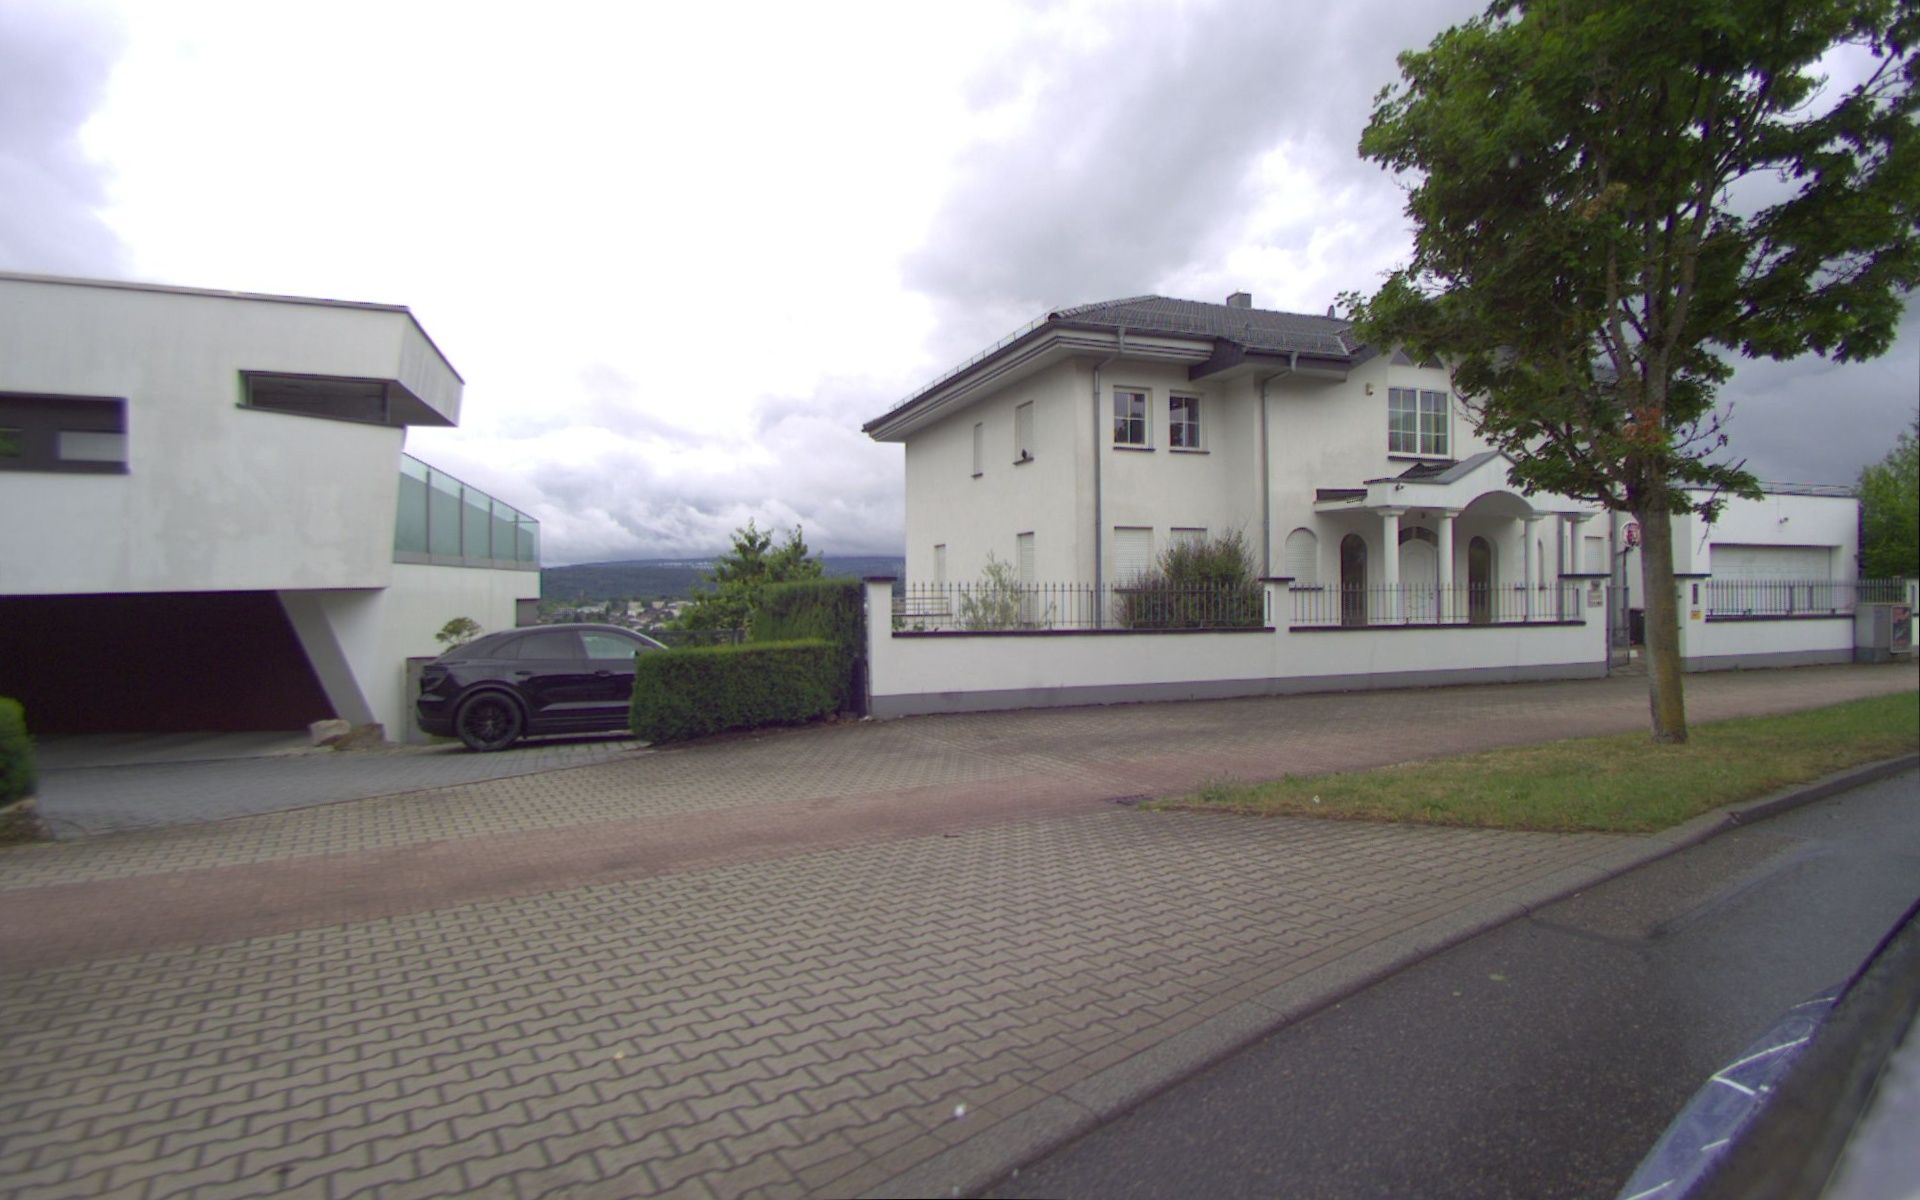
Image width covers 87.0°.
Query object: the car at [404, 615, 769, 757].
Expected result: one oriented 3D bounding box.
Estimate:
[{"bbox_3d":[-5.010,1.083,13.891,4.367,1.570,1.930,-1,-2,-22],"label":"car"}]
